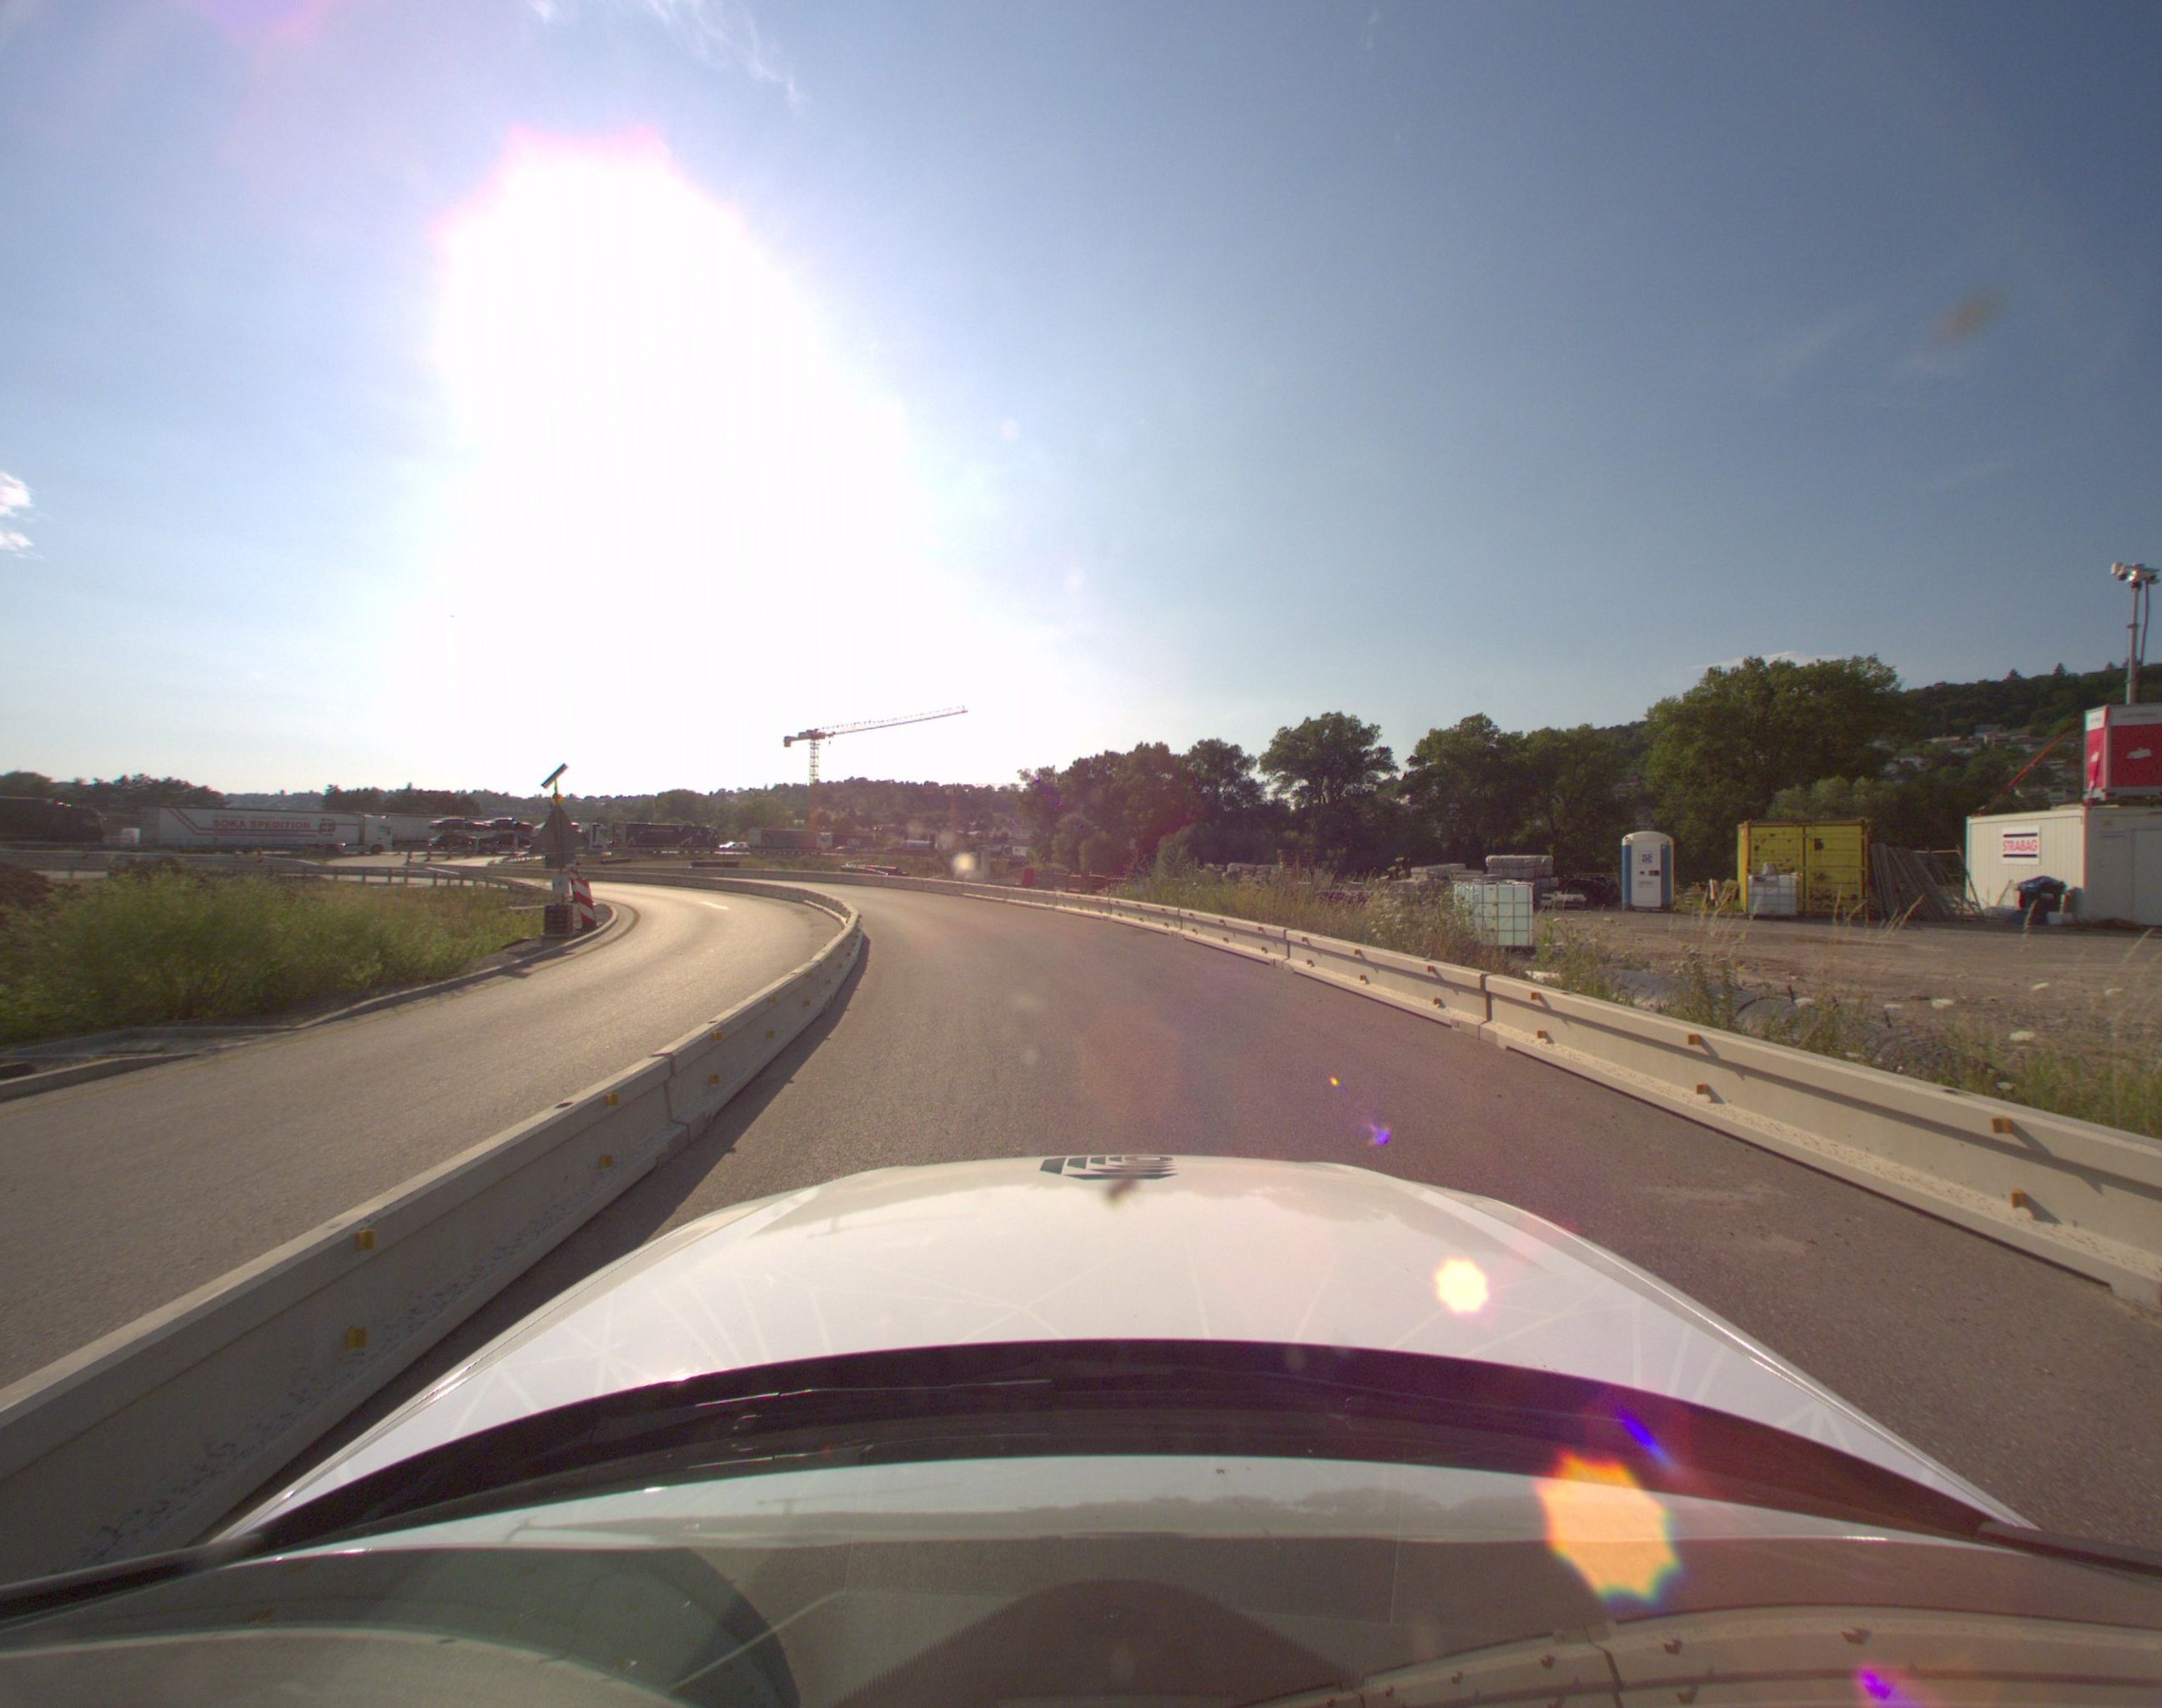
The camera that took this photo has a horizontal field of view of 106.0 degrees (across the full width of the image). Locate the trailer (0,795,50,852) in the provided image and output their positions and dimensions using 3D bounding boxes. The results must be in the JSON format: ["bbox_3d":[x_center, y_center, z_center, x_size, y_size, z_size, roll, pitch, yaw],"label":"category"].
[{"bbox_3d":[-80.009,-2.287,54.412,2.461,4.061,13.691,1,0,17],"label":"trailer"}]

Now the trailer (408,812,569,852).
[{"bbox_3d":[-66.643,-2.303,92.551,2.834,3.996,15.822,1,0,19],"label":"trailer"}]

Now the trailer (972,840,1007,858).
[{"bbox_3d":[-23.793,-1.280,213.174,3.078,4.314,14.321,1,0,19],"label":"trailer"}]

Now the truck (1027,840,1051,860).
[{"bbox_3d":[-12.644,-1.239,244.196,3.137,5.871,10.729,0,-1,20],"label":"truck"}]

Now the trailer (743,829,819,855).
[{"bbox_3d":[-50.561,-1.903,138.028,3.357,3.996,14.816,1,0,19],"label":"trailer"}]

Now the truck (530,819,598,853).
[{"bbox_3d":[-63.795,-2.211,100.596,2.825,3.996,6.656,1,0,19],"label":"truck"}]

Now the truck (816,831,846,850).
[{"bbox_3d":[-50.557,-2.741,164.727,2.971,3.727,5.716,0,-1,20],"label":"truck"}]

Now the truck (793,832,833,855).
[{"bbox_3d":[-47.860,-1.854,145.694,3.316,3.996,6.656,1,0,19],"label":"truck"}]

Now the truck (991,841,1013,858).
[{"bbox_3d":[-21.309,-1.237,220.237,3.072,4.285,6.656,1,0,19],"label":"truck"}]

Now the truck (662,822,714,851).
[{"bbox_3d":[-57.176,-2.566,118.636,2.861,3.996,6.658,1,0,21],"label":"truck"}]

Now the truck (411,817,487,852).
[{"bbox_3d":[-75.744,-2.273,97.786,2.825,3.996,6.656,1,0,19],"label":"truck"}]

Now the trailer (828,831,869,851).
[{"bbox_3d":[-48.526,-2.662,170.188,2.981,3.752,9.618,0,-1,20],"label":"trailer"}]

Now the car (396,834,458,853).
[{"bbox_3d":[-73.301,-1.167,91.319,2.012,1.980,5.004,3,1,20],"label":"car"}]

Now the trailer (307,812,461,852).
[{"bbox_3d":[-77.909,-2.314,91.685,2.834,3.996,13.541,1,0,19],"label":"trailer"}]

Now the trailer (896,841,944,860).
[{"bbox_3d":[-35.412,-0.733,180.266,3.357,3.996,14.816,1,0,19],"label":"trailer"}]

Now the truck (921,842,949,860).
[{"bbox_3d":[-33.381,-0.700,186.018,3.362,3.996,6.656,1,0,19],"label":"truck"}]

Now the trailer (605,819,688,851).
[{"bbox_3d":[-59.666,-2.544,112.273,2.934,4.092,10.847,0,0,21],"label":"trailer"}]

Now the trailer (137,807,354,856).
[{"bbox_3d":[-73.769,-1.845,72.709,2.460,3.878,13.696,1,0,19],"label":"trailer"}]

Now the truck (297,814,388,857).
[{"bbox_3d":[-71.558,-1.732,79.049,2.460,3.878,6.040,1,0,19],"label":"truck"}]

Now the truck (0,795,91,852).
[{"bbox_3d":[-78.234,-2.216,60.066,2.461,4.060,6.039,1,0,18],"label":"truck"}]

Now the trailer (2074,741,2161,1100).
[{"bbox_3d":[8.179,0.444,2.248,2.984,2.414,7.250,1,0,11],"label":"trailer"}]
